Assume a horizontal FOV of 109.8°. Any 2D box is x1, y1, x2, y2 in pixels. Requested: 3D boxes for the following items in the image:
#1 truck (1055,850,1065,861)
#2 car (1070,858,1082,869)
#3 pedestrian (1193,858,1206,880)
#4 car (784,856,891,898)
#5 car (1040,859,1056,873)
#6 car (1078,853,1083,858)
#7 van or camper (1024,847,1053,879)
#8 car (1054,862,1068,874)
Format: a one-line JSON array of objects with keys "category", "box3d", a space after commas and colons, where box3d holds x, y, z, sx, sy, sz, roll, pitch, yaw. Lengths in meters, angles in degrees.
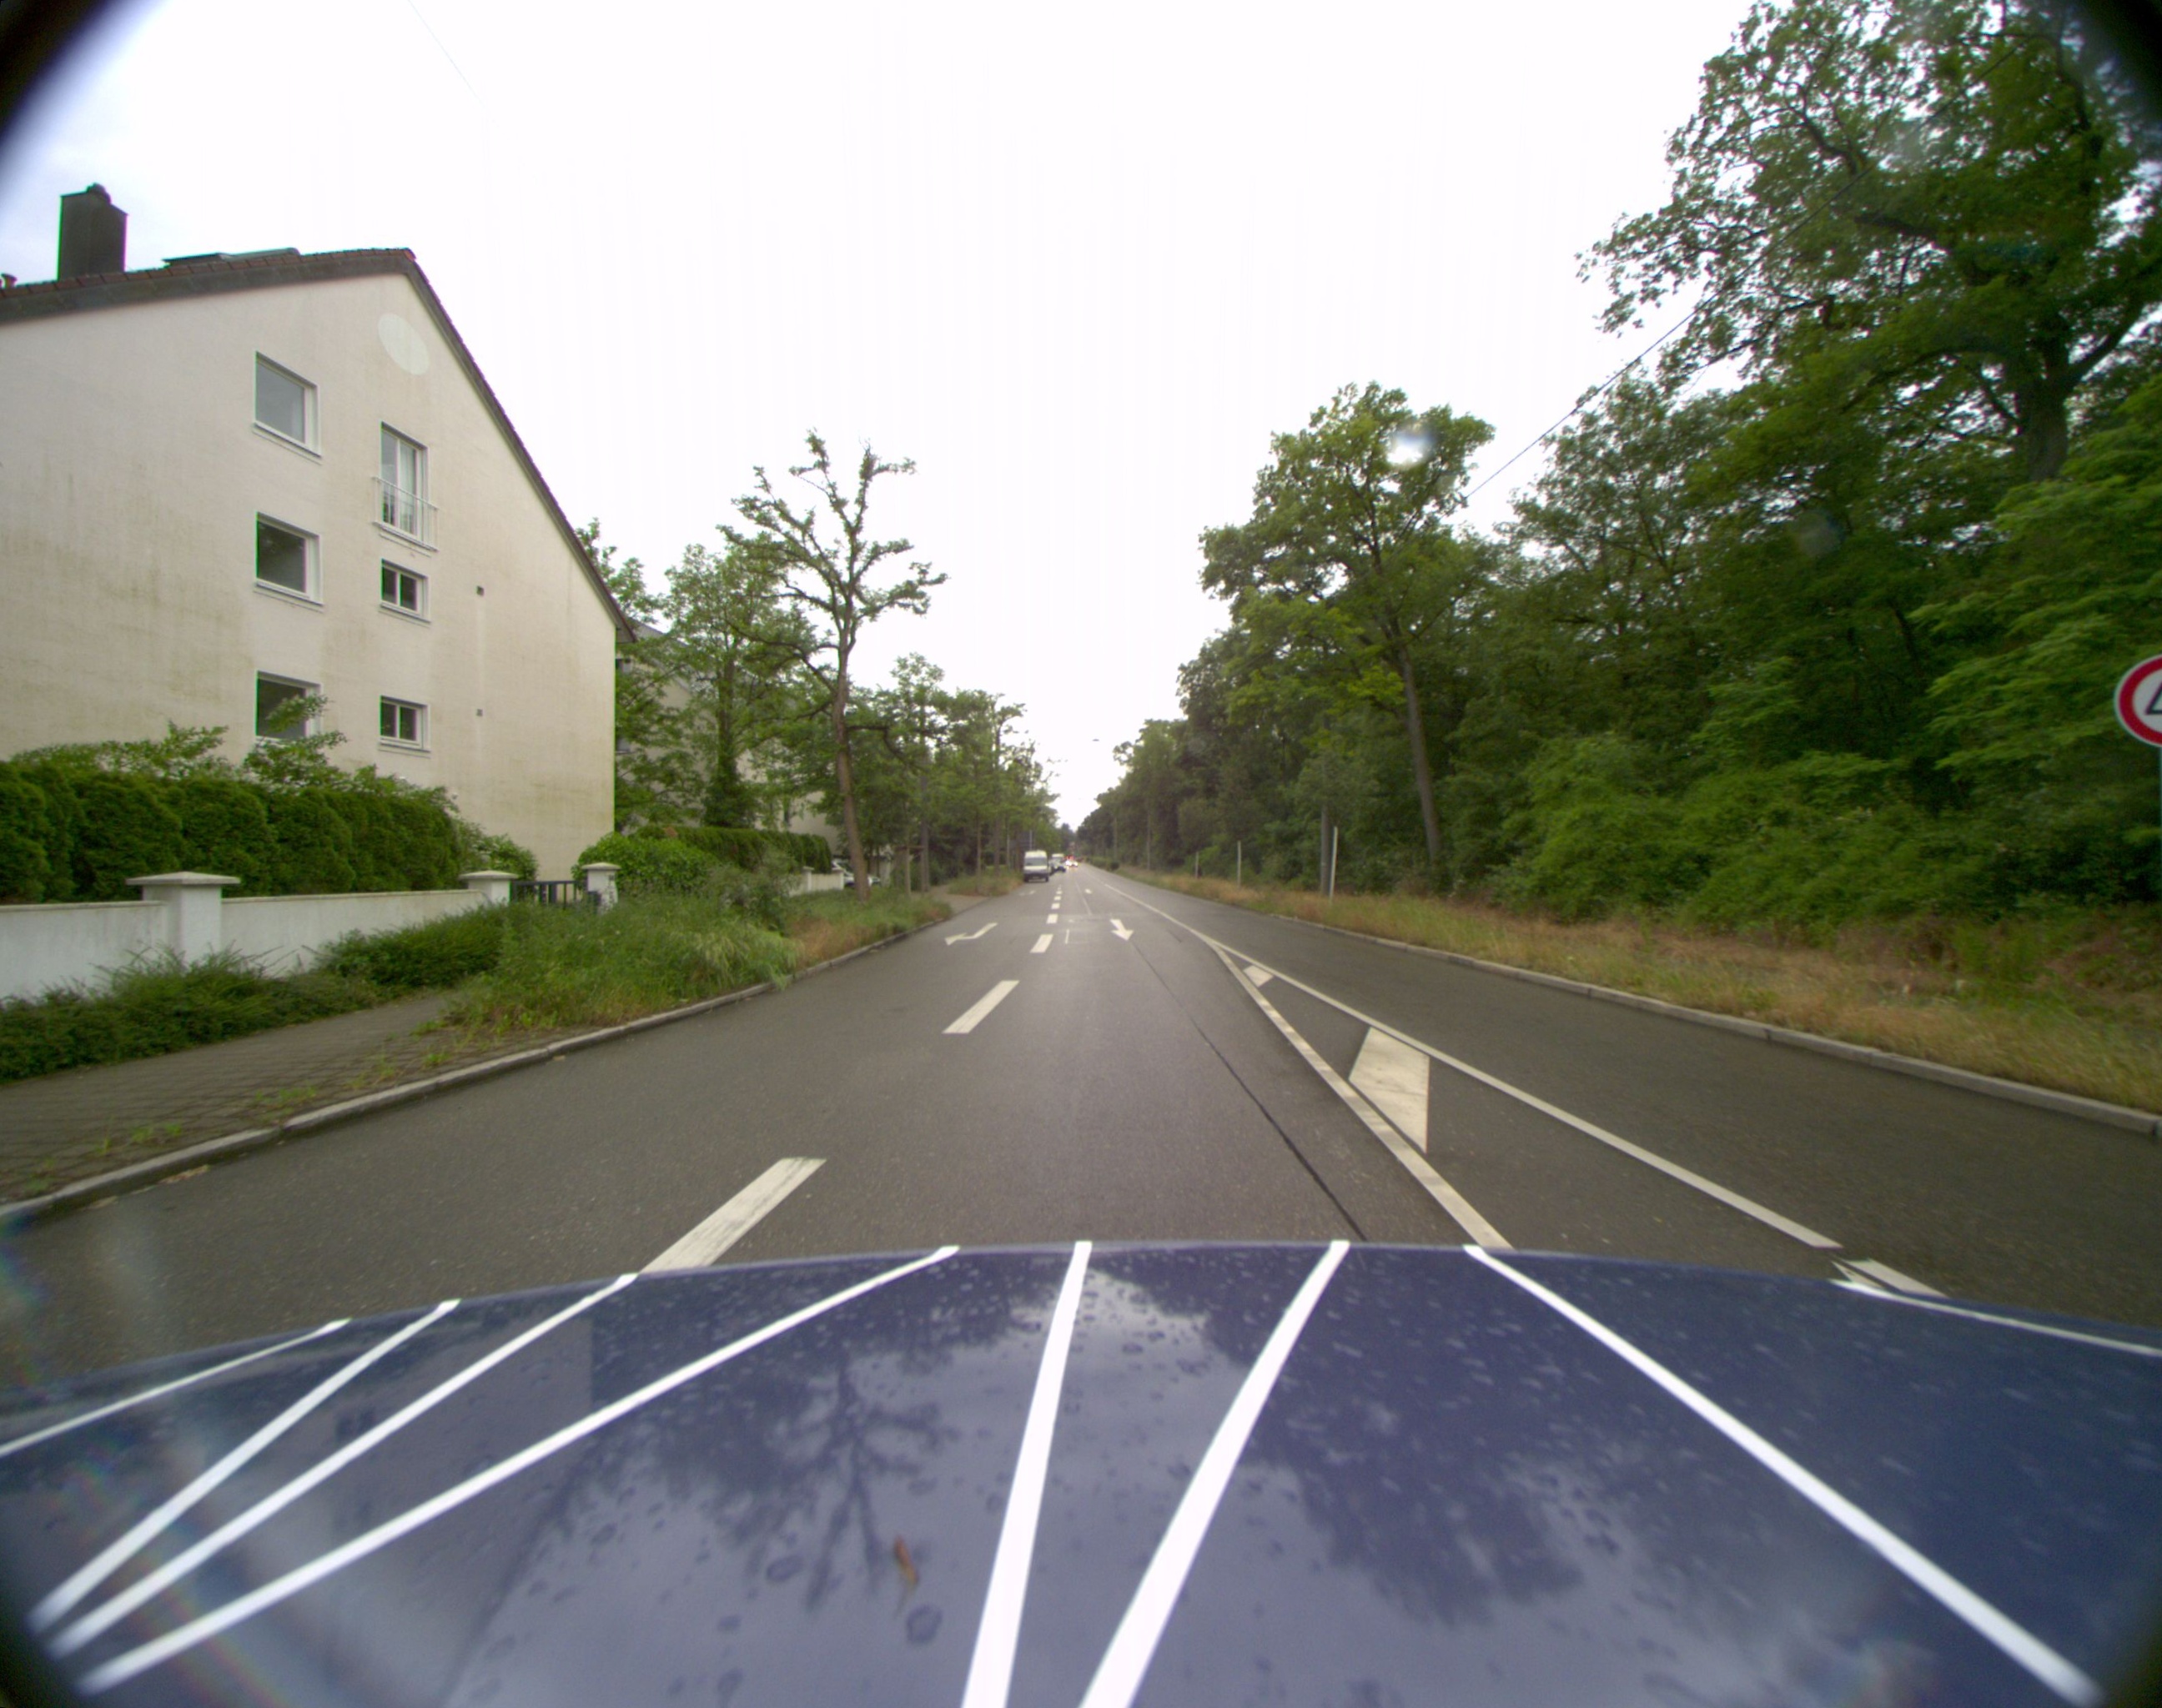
[{"category": "truck", "box3d": [-4.877, 0.350, 173.926, 2.230, 2.321, 5.112, 1, 0, -2]}, {"category": "car", "box3d": [-0.901, 1.748, 140.396, 1.998, 2.002, 3.999, -1, 1, 1]}, {"category": "pedestrian", "box3d": [8.736, 1.116, 56.021, 0.783, 1.598, 0.732, 0, 0, -2]}, {"category": "car", "box3d": [-11.263, 1.050, 35.256, 4.312, 1.807, 1.876, -1, 0, 10]}, {"category": "car", "box3d": [-3.501, 1.273, 81.409, 1.576, 1.463, 3.764, -2, 0, -1]}, {"category": "car", "box3d": [-0.142, 0.353, 250.690, 1.681, 1.608, 4.061, 1, 0, -2]}, {"category": "van or camper", "box3d": [-3.466, 0.718, 63.052, 2.042, 2.465, 5.637, -3, 0, -1]}, {"category": "car", "box3d": [-2.605, 1.811, 98.555, 1.622, 1.459, 4.409, -2, 0, -2]}]
